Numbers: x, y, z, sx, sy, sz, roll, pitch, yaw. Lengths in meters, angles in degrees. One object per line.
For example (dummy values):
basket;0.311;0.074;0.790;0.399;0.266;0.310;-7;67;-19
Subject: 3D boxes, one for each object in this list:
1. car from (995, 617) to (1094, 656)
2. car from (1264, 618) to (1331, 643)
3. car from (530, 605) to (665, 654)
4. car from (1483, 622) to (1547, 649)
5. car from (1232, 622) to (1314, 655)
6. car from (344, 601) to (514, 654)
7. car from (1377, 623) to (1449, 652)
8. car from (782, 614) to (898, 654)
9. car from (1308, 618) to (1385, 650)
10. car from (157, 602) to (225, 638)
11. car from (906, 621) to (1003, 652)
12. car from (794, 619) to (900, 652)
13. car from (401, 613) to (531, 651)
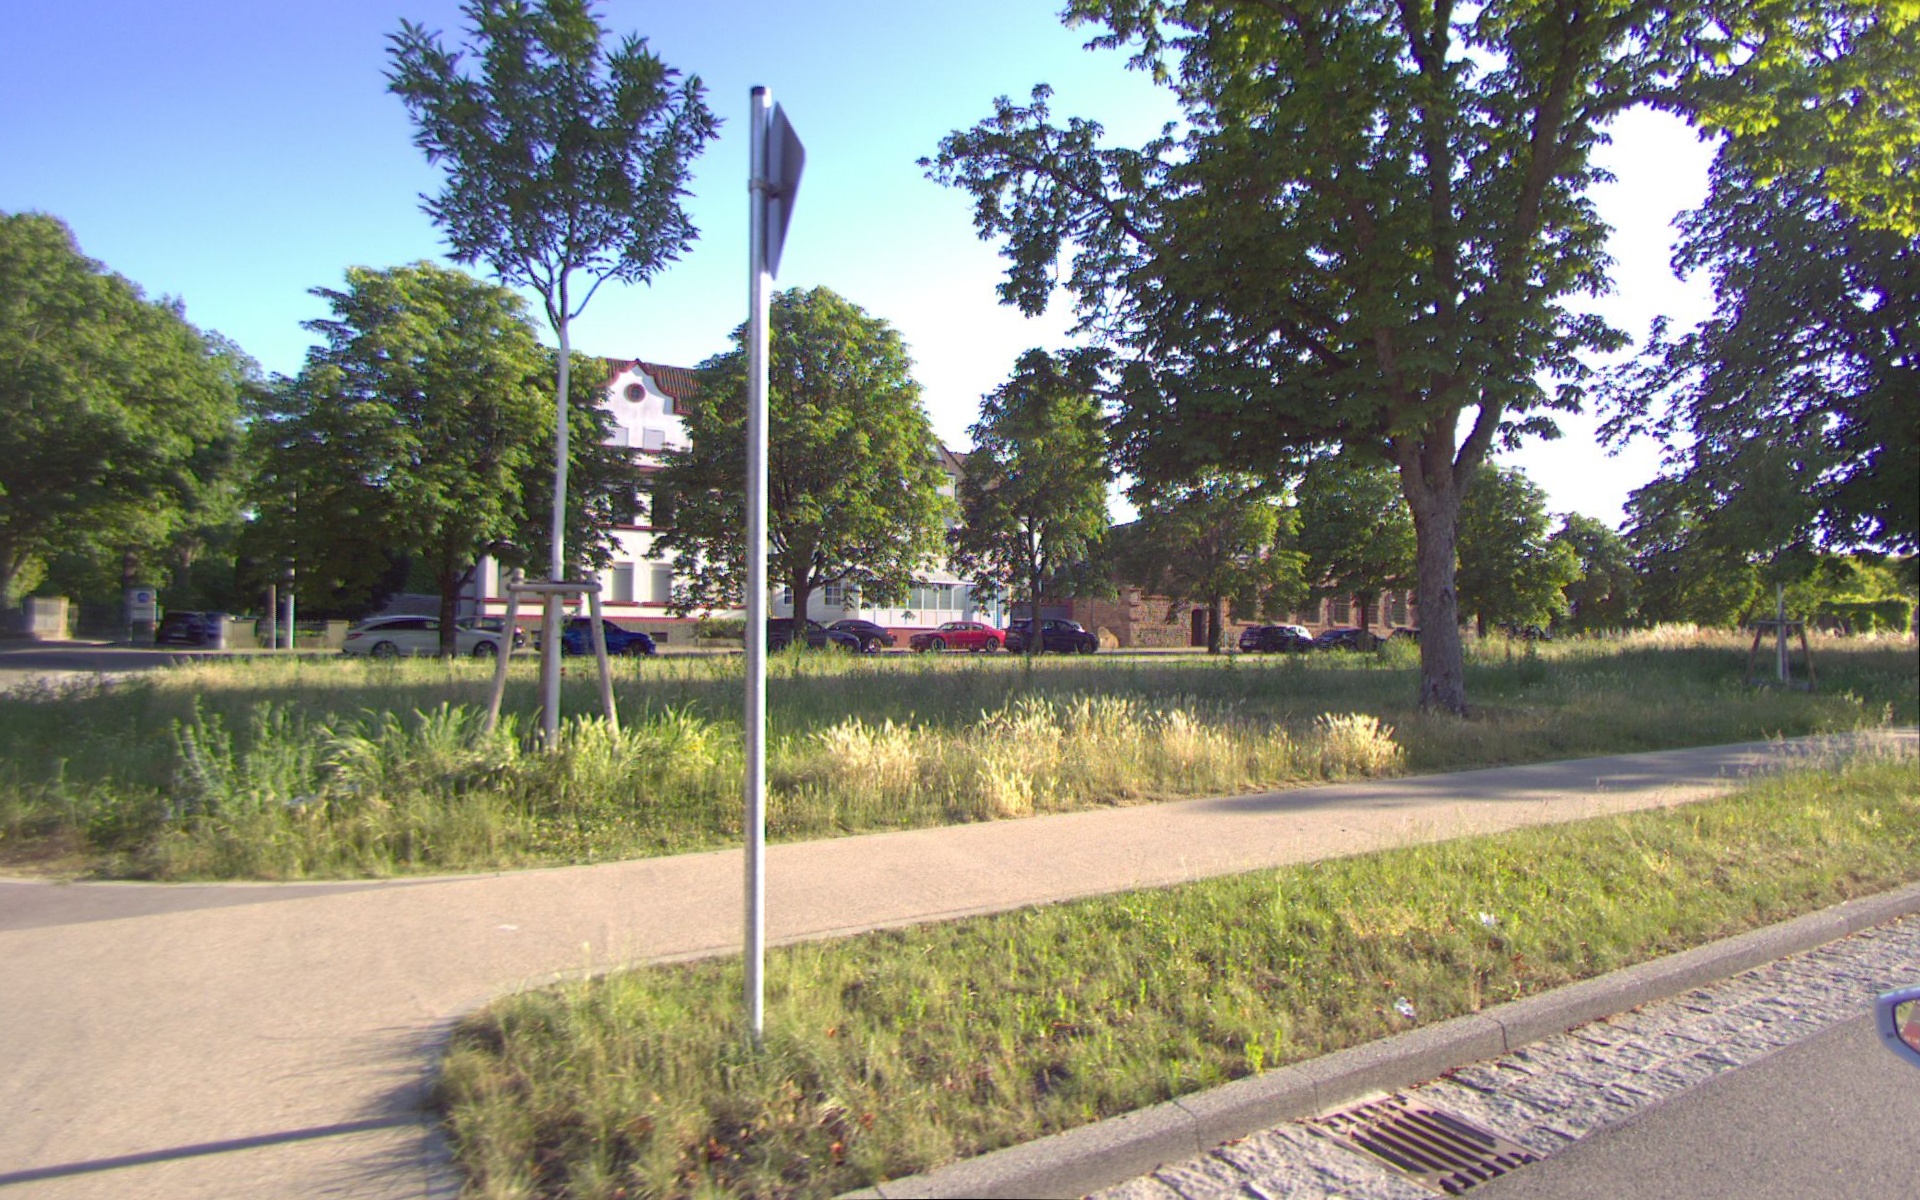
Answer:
car;3.756;1.606;44.427;4.172;1.618;1.684;2;-1;-31
car;20.227;1.857;60.228;3.953;1.424;1.621;2;-1;-30
car;-12.623;1.040;35.064;4.176;1.618;1.683;2;-1;-33
car;34.824;2.232;62.994;4.172;1.618;1.684;2;-1;-31
car;16.125;1.981;51.757;4.172;1.618;1.684;2;-1;-31
car;-17.077;0.888;32.397;4.705;1.618;1.683;2;-1;-33
car;26.249;2.190;58.173;4.172;1.618;1.684;2;-1;-31
car;-4.661;1.324;39.212;4.174;1.496;1.683;2;-1;-32
car;20.991;1.853;54.515;4.172;1.618;1.684;2;-1;-31
car;-35.657;0.941;46.653;1.810;1.576;3.972;1;-2;-28
car;-0.246;1.762;47.816;4.424;1.350;1.563;2;0;-29
car;-5.030;1.605;44.969;4.426;1.350;1.563;2;0;-29
car;-18.414;1.190;37.479;4.176;1.332;1.683;2;-1;-33
